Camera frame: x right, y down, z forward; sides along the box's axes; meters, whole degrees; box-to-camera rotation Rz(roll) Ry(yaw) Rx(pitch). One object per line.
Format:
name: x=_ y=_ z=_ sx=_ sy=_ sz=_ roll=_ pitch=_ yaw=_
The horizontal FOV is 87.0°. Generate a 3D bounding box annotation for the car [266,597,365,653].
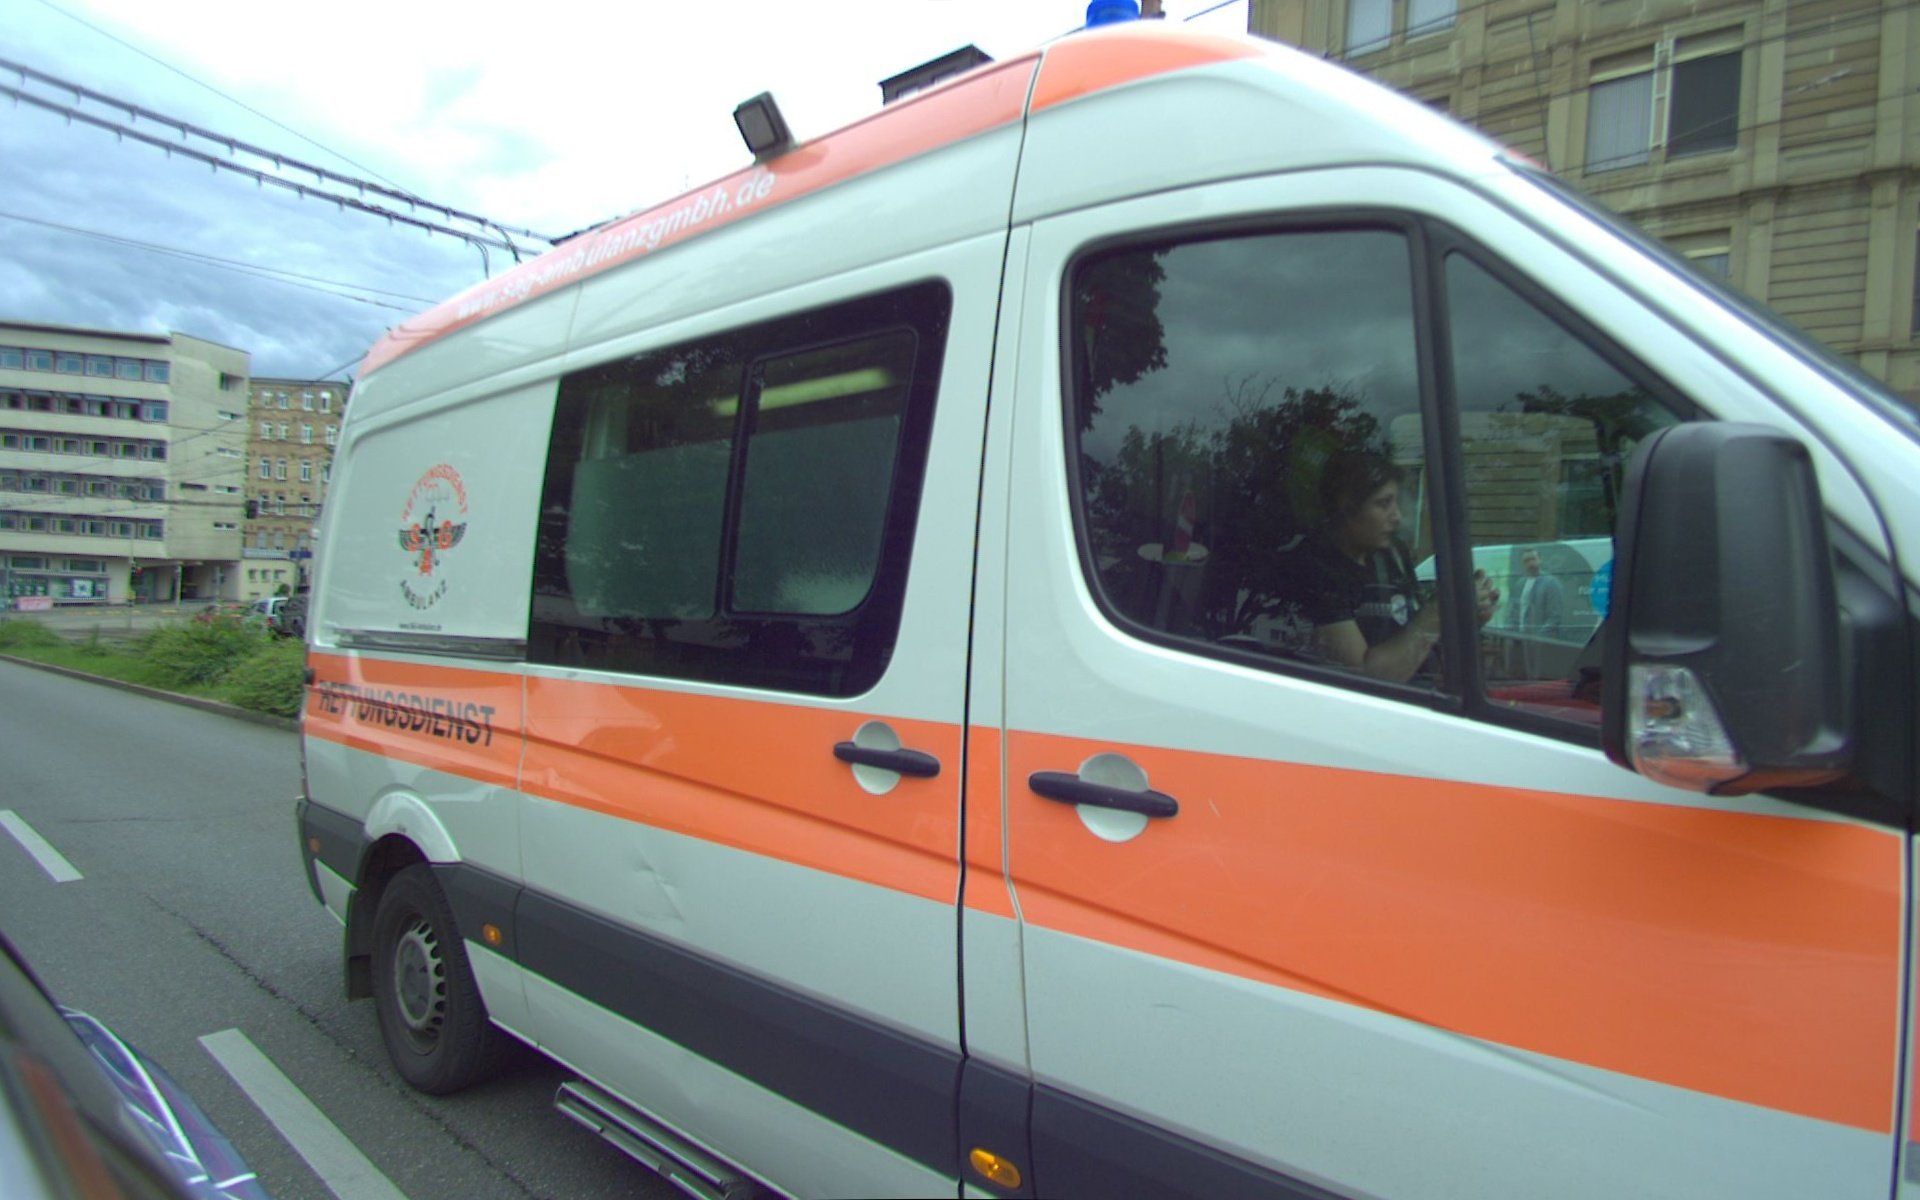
car: x=-24.986 y=0.950 z=39.167 sx=4.748 sy=2.029 sz=2.118 roll=-1 pitch=-2 yaw=44

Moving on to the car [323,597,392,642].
car: x=-29.795 y=0.981 z=49.989 sx=3.915 sy=2.137 sz=1.771 roll=-1 pitch=-2 yaw=41

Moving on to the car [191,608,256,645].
car: x=-33.891 y=1.195 z=46.536 sx=3.843 sy=1.641 sz=1.659 roll=-1 pitch=-2 yaw=42

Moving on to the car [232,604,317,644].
car: x=-28.756 y=0.996 z=42.428 sx=3.998 sy=1.596 sz=1.973 roll=-1 pitch=-2 yaw=41

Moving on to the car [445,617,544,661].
car: x=-16.178 y=1.325 z=35.116 sx=3.746 sy=1.463 sz=1.704 roll=-1 pitch=-2 yaw=41

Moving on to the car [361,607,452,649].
car: x=-21.682 y=1.089 z=39.607 sx=3.996 sy=1.581 sz=1.737 roll=-1 pitch=-2 yaw=39

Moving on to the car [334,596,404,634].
car: x=-31.453 y=0.789 z=53.853 sx=3.994 sy=1.930 sz=1.825 roll=0 pitch=-2 yaw=38

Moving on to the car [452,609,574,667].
car: x=-12.730 y=1.038 z=28.757 sx=3.758 sy=1.541 sz=1.736 roll=-1 pitch=-2 yaw=41

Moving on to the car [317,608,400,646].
car: x=-25.485 y=1.137 z=42.857 sx=3.998 sy=1.522 sz=1.864 roll=-1 pitch=-2 yaw=41

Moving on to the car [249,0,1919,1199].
car: x=0.159 y=0.440 z=2.686 sx=5.851 sy=2.720 sz=2.012 roll=-1 pitch=-1 yaw=41

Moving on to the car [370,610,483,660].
car: x=-17.343 y=1.105 z=32.849 sx=3.997 sy=1.507 sz=1.875 roll=-1 pitch=-2 yaw=40
